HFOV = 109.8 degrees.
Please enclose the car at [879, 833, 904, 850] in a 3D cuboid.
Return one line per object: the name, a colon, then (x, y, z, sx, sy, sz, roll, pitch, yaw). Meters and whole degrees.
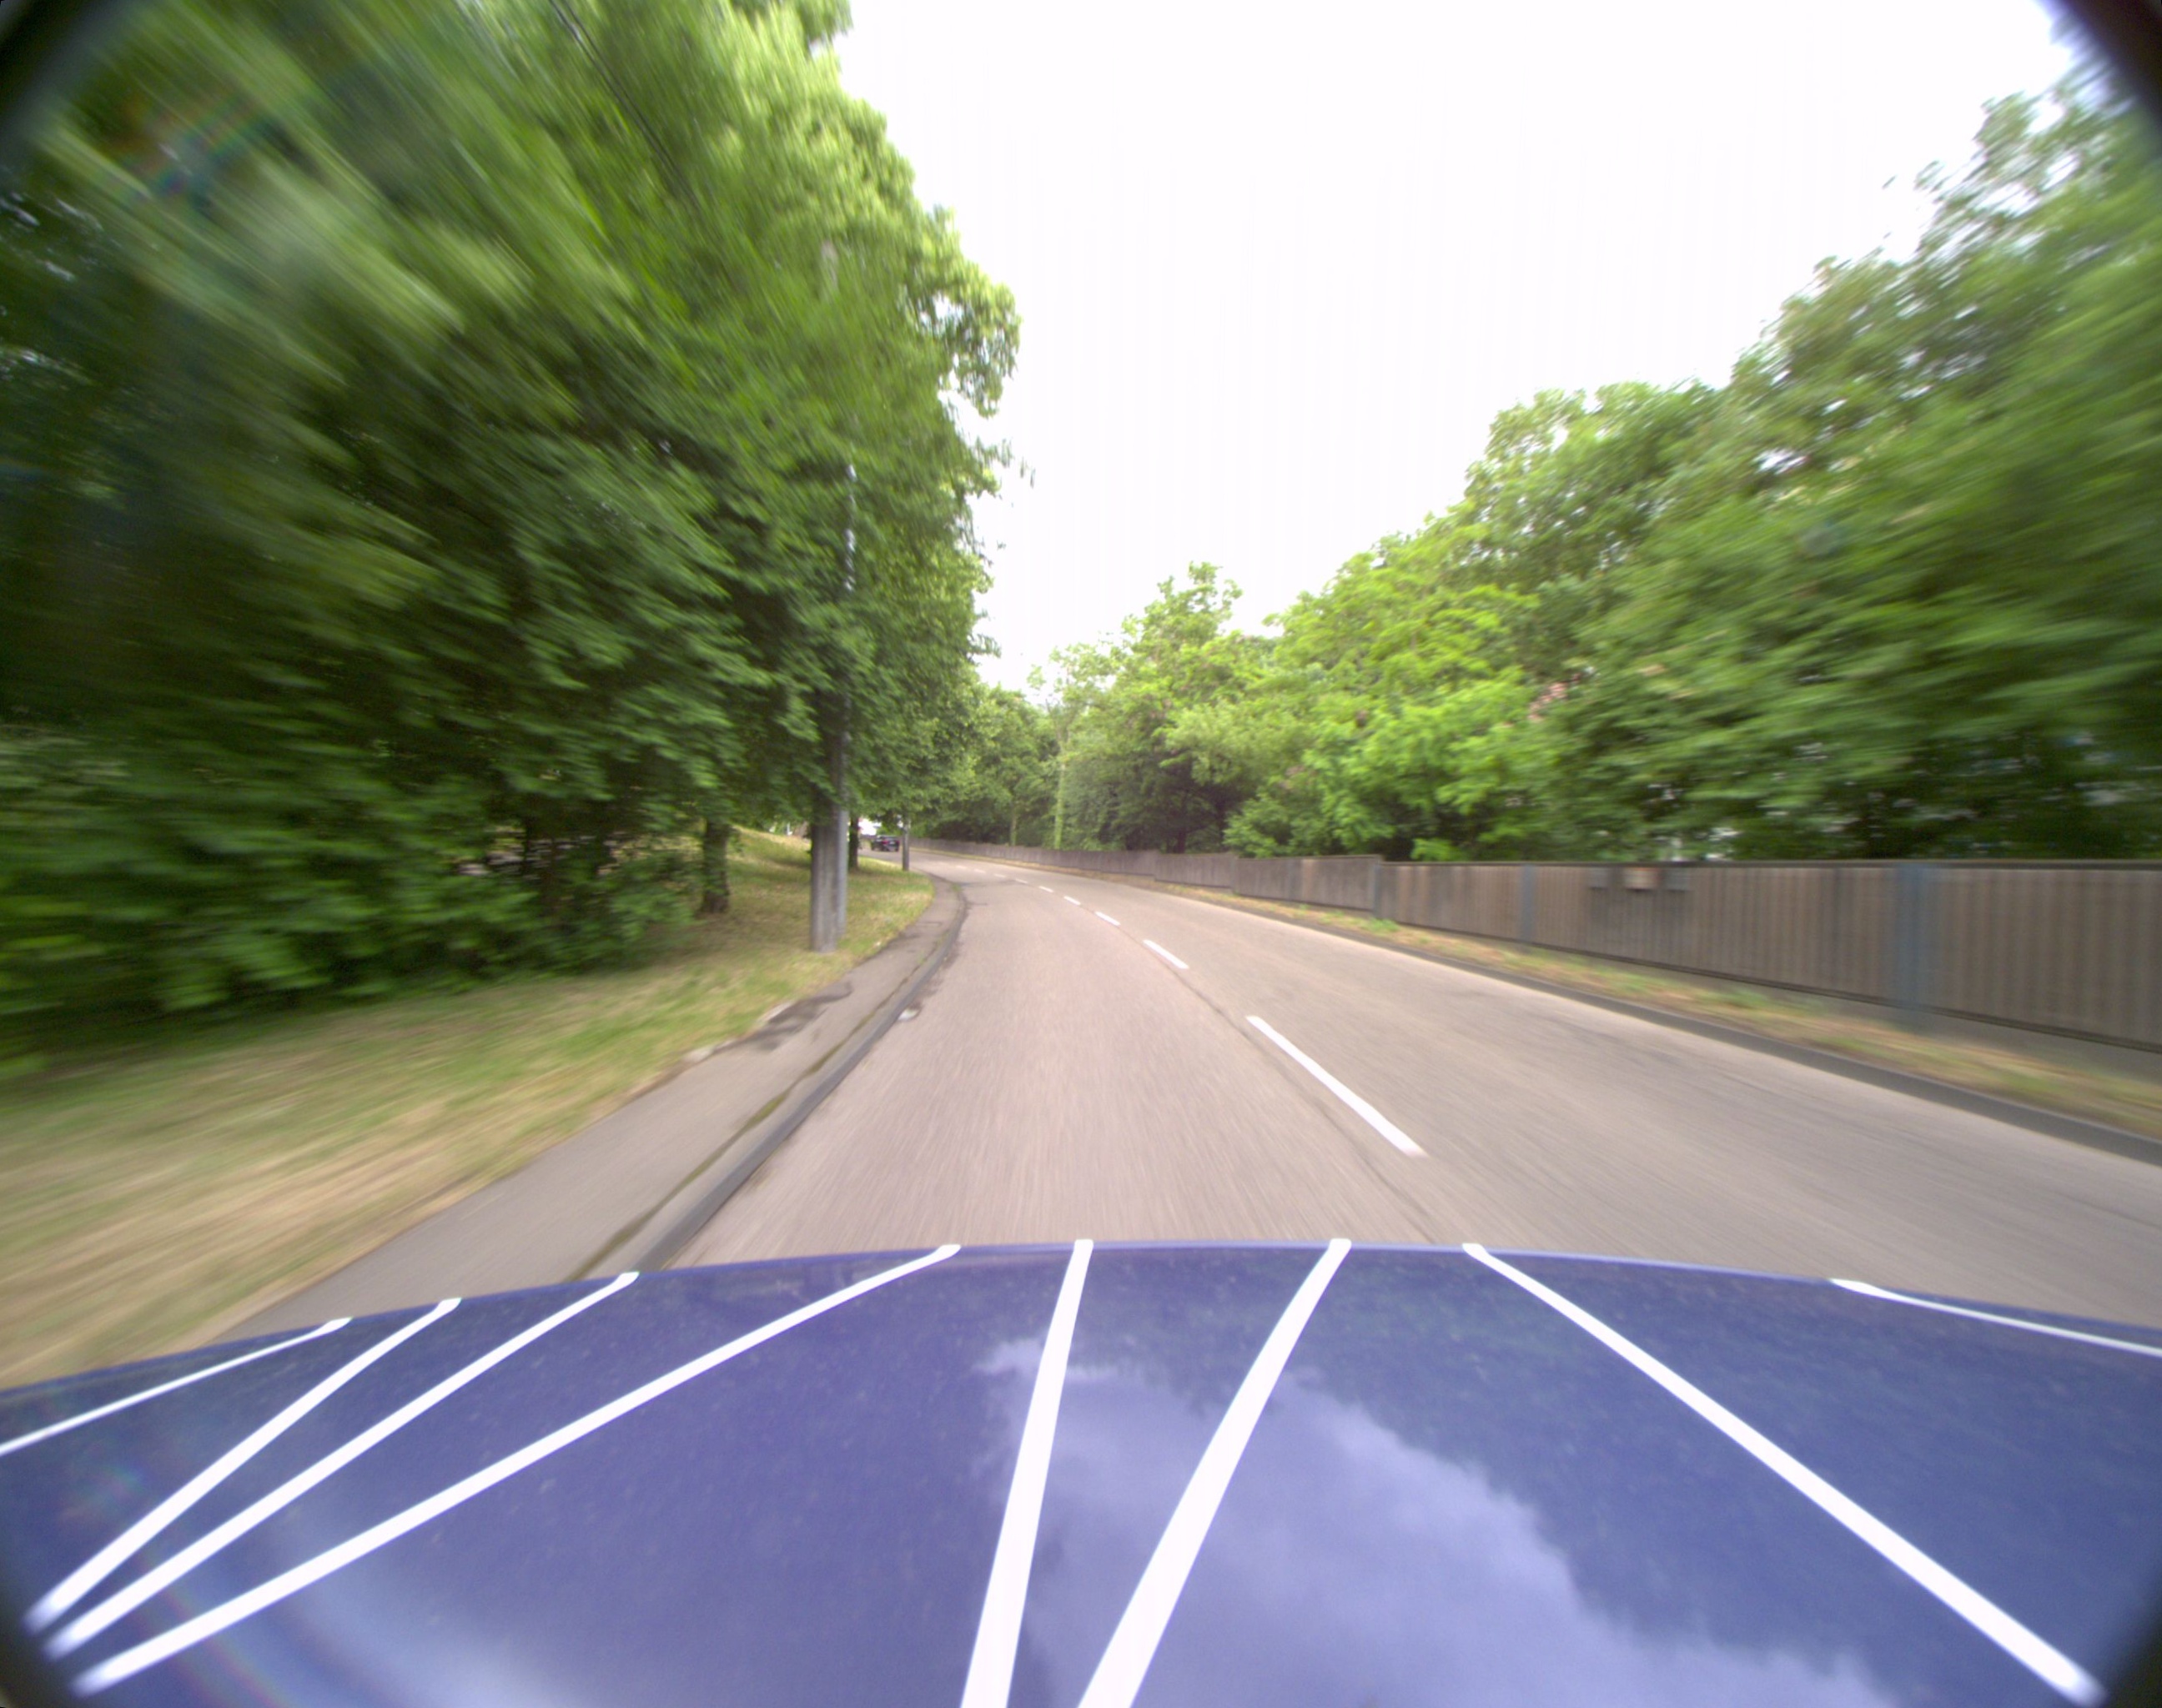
car: (-18.781, -1.289, 75.171, 1.733, 1.631, 4.045, -1, 2, -24)
